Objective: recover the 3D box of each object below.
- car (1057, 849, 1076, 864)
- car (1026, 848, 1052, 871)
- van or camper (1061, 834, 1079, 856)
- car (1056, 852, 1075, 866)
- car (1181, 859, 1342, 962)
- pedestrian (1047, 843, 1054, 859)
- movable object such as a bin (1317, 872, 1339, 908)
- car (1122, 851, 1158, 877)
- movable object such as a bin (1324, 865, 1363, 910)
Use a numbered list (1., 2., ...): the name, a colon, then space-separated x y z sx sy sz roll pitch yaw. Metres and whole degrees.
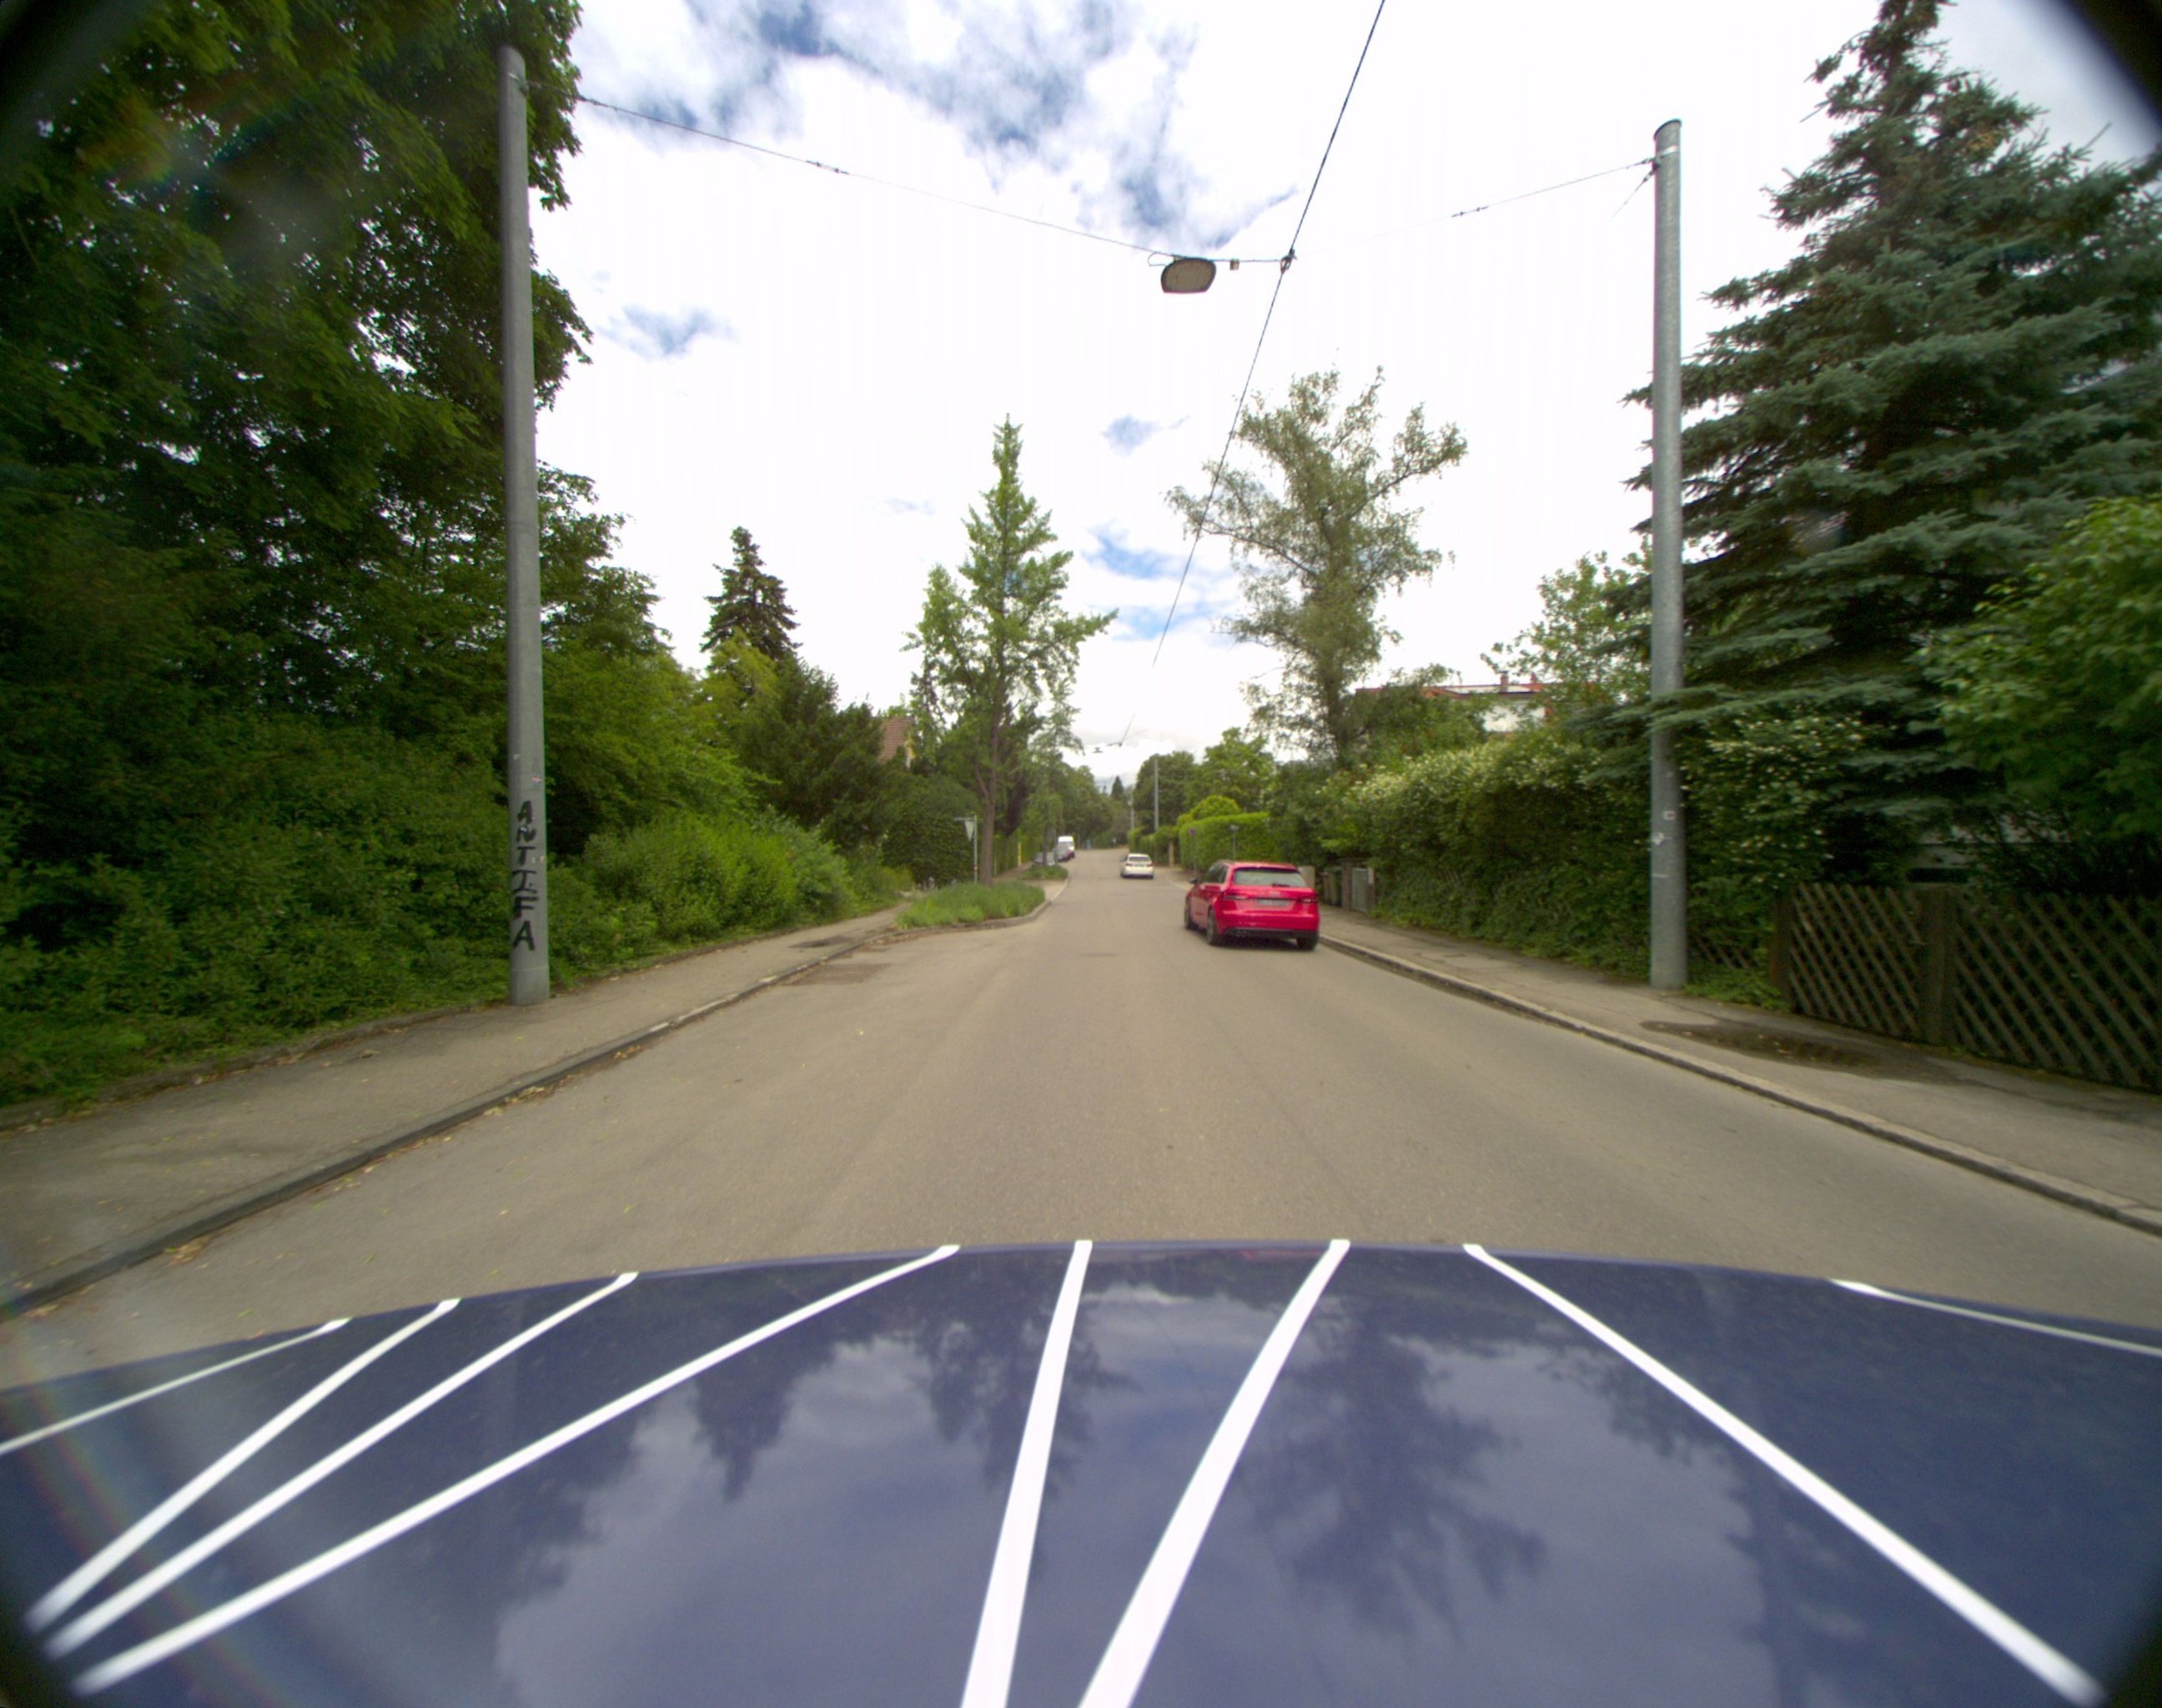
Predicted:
1. car: -1.618 0.243 84.873 1.893 1.572 4.764 1 2 1
2. car: -2.945 0.373 53.851 1.627 1.464 3.739 -1 1 1
3. van or camper: -1.434 -1.150 93.255 2.046 2.605 7.036 -2 2 -1
4. car: -1.573 0.478 77.375 1.683 1.399 4.054 -1 0 2
5. car: 2.999 0.869 13.538 1.810 1.423 4.117 2 1 -1
6. pedestrian: -3.419 -0.350 84.906 0.671 1.689 0.918 1 2 2
7. movable object such as a bin: 6.838 0.995 21.085 0.379 0.946 0.512 -3 1 -2
8. car: 3.469 0.571 45.395 1.810 1.423 4.300 0 0 0
9. movable object such as a bin: 7.061 0.891 20.449 0.729 1.119 0.722 -3 1 -2
